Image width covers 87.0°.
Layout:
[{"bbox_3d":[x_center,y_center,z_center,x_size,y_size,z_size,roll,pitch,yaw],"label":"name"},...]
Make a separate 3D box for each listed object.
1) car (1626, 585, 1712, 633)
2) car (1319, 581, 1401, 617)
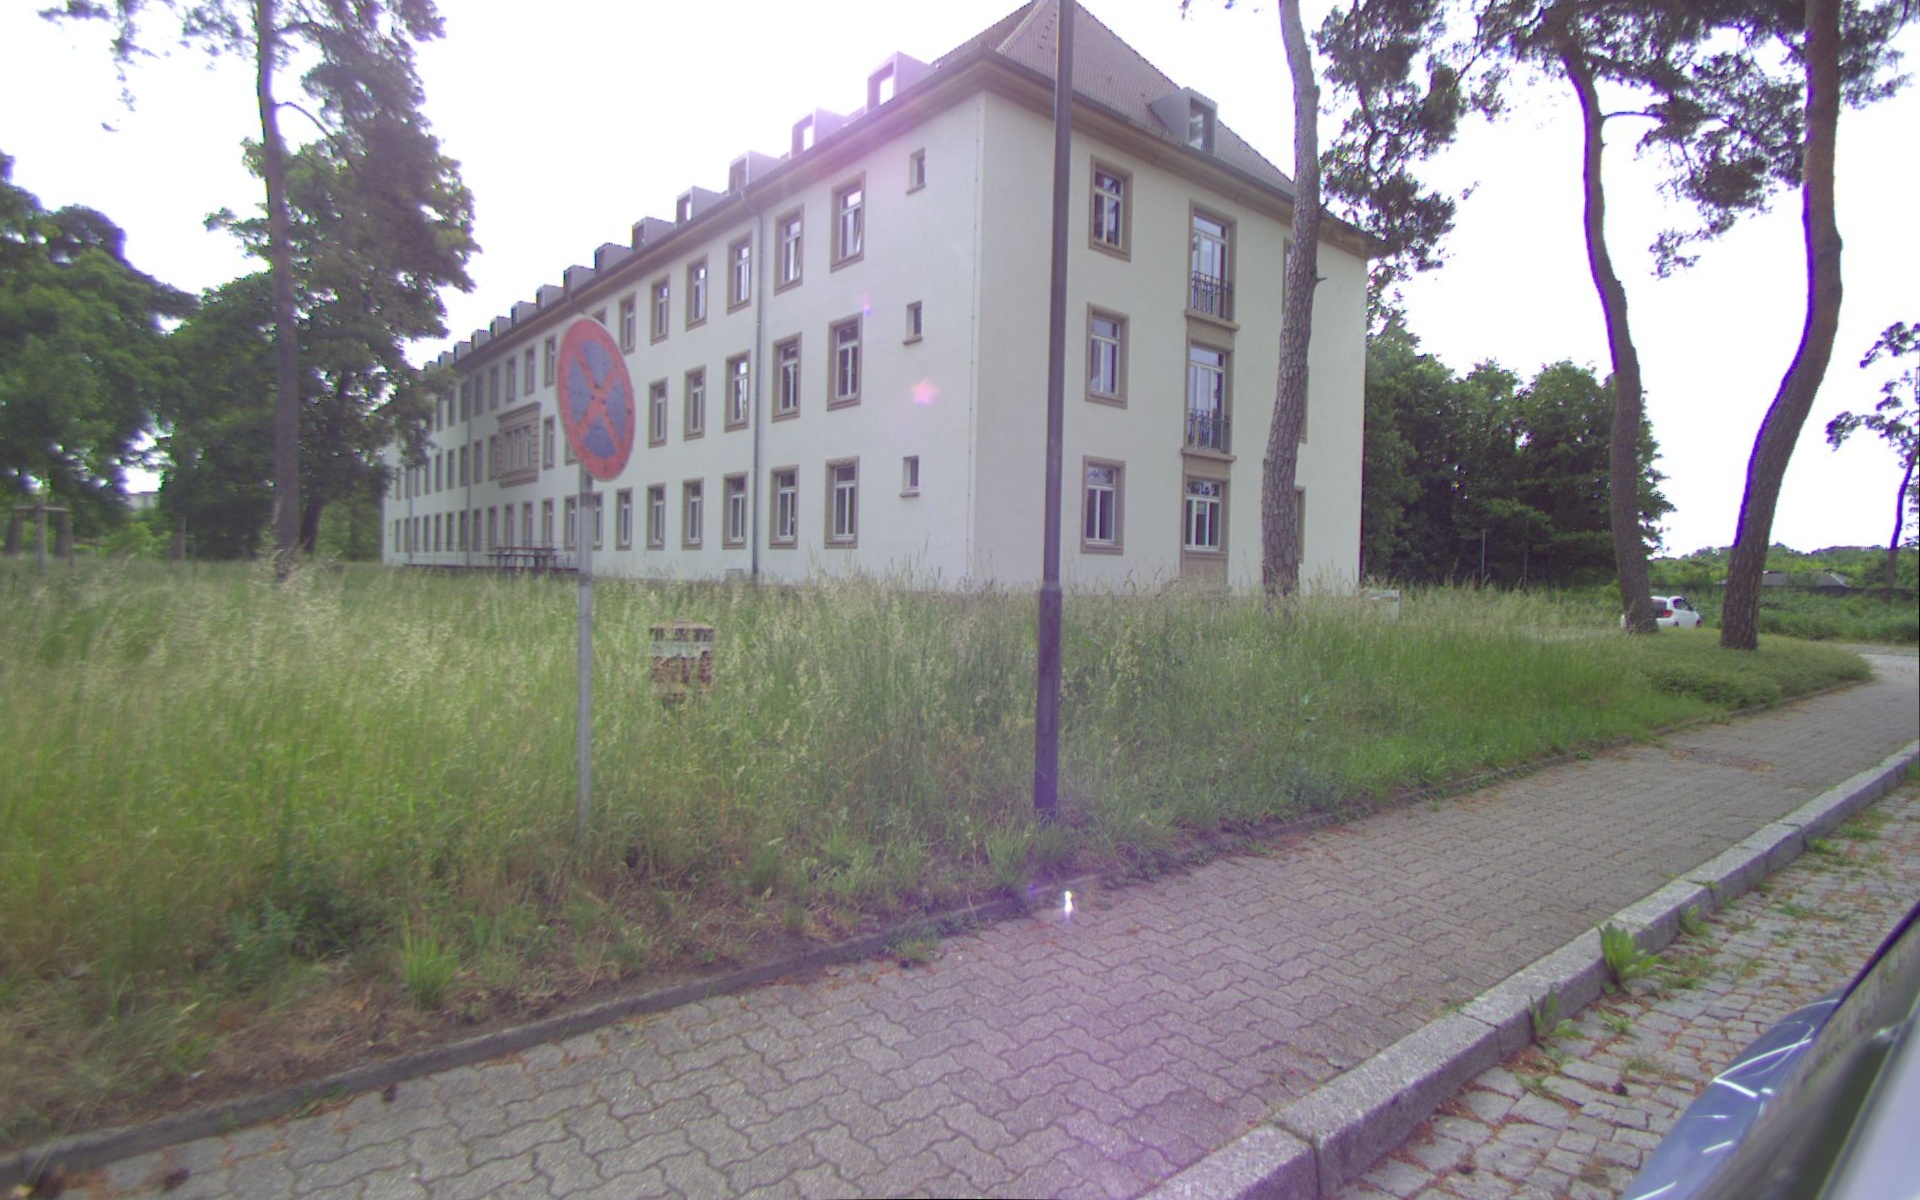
[{"bbox_3d":[24.741,0.281,35.292,3.221,1.451,1.640,-3,3,-40],"label":"car"},{"bbox_3d":[17.375,-0.077,43.855,3.930,1.344,1.640,-3,3,-40],"label":"car"}]
